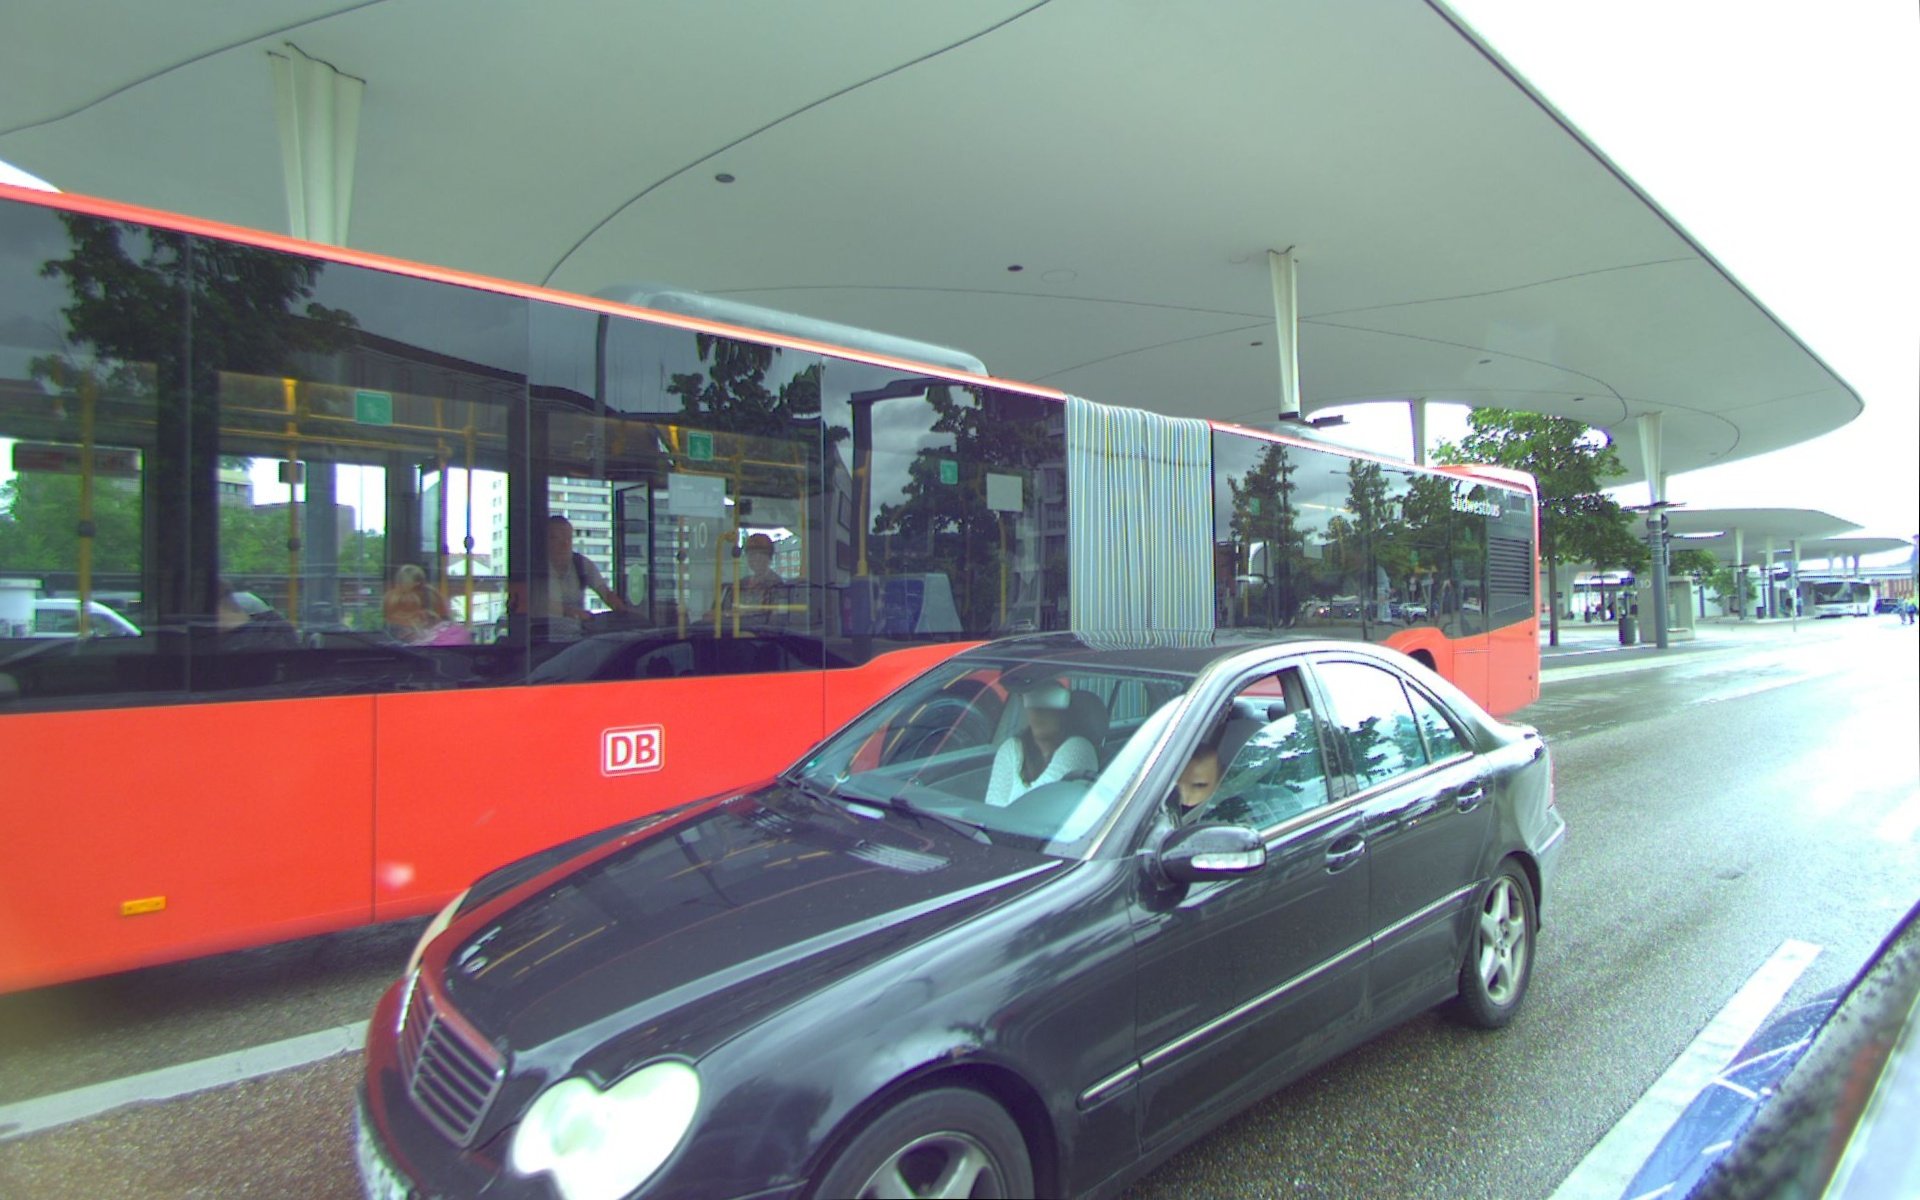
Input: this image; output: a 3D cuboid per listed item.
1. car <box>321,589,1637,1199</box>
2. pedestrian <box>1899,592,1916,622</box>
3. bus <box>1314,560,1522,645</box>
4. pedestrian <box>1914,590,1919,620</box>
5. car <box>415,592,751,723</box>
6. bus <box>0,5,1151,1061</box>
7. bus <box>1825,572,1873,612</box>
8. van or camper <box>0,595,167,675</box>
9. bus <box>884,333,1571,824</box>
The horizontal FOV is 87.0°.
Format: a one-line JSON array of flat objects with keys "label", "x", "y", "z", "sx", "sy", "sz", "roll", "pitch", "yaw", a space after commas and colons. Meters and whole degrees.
[{"label": "car", "x": 0.519, "y": 0.771, "z": 3.431, "sx": 4.356, "sy": 1.499, "sz": 1.748, "roll": -1, "pitch": -2, "yaw": -40}, {"label": "pedestrian", "x": 51.540, "y": 0.387, "z": 55.055, "sx": 0.577, "sy": 1.645, "sz": 0.576, "roll": 0, "pitch": -1, "yaw": -41}, {"label": "bus", "x": 20.076, "y": 0.116, "z": 43.724, "sx": 12.134, "sy": 3.147, "sz": 3.000, "roll": 0, "pitch": -5, "yaw": -40}, {"label": "pedestrian", "x": 51.915, "y": 0.262, "z": 54.628, "sx": 0.543, "sy": 1.645, "sz": 0.556, "roll": 0, "pitch": -1, "yaw": -41}, {"label": "car", "x": -5.523, "y": 0.762, "z": 15.126, "sx": 4.356, "sy": 1.670, "sz": 1.803, "roll": 0, "pitch": -2, "yaw": -41}, {"label": "bus", "x": -3.406, "y": -0.208, "z": 4.473, "sx": 10.016, "sy": 3.214, "sz": 2.747, "roll": 0, "pitch": 0, "yaw": -41}, {"label": "bus", "x": 75.354, "y": -0.639, "z": 85.710, "sx": 2.666, "sy": 3.169, "sz": 9.565, "roll": -1, "pitch": -1, "yaw": 43}, {"label": "van or camper", "x": -29.792, "y": 1.104, "z": 33.216, "sx": 5.868, "sy": 2.495, "sz": 2.106, "roll": 0, "pitch": -1, "yaw": -41}, {"label": "bus", "x": 3.244, "y": -0.154, "z": 10.285, "sx": 7.978, "sy": 3.214, "sz": 2.747, "roll": 0, "pitch": 0, "yaw": -41}]
